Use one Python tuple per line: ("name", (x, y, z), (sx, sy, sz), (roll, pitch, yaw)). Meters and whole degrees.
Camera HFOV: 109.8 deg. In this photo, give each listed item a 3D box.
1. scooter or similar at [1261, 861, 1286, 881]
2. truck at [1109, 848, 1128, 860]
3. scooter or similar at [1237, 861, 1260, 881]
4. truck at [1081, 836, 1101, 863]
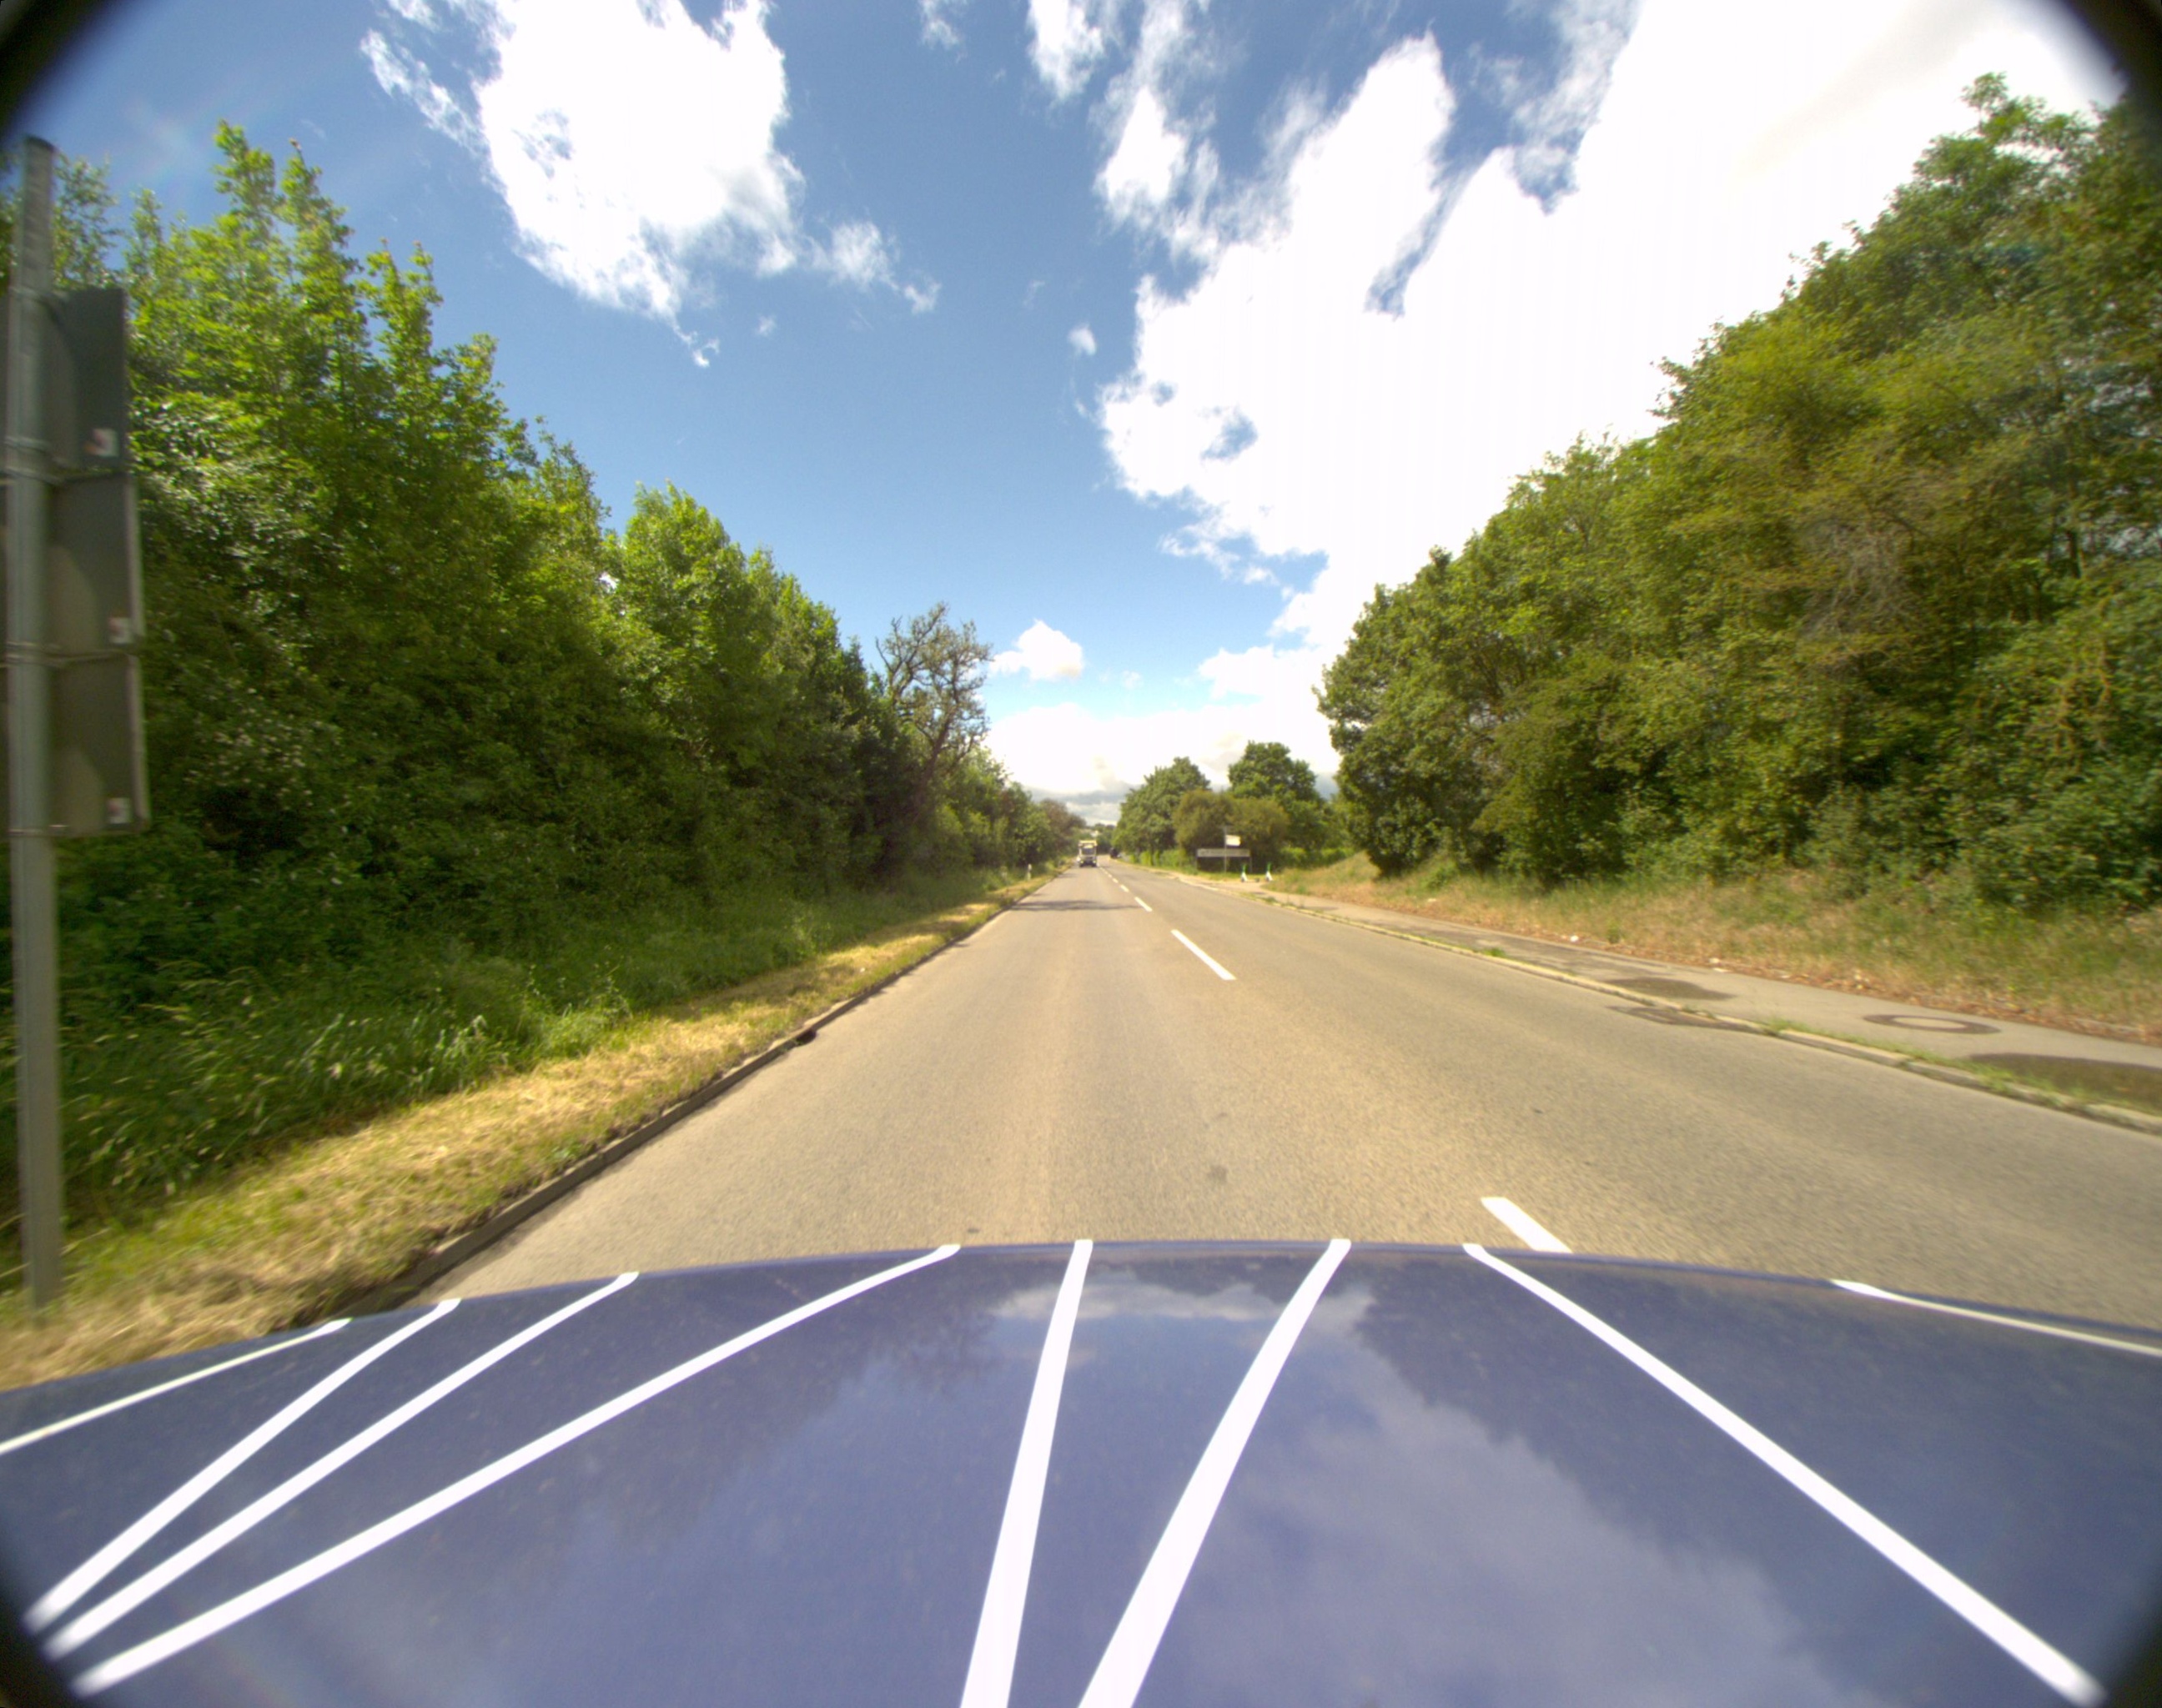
("scooter or similar", (11.237, 0.980, 44.442), (1.347, 1.162, 0.408), (-1, 0, 41))
("truck", (11.783, 0.110, 239.771), (5.570, 3.801, 2.983), (0, 1, -4))
("scooter or similar", (9.934, 1.019, 45.118), (0.408, 1.162, 1.347), (-2, 0, -43))
("truck", (1.413, -0.649, 111.309), (2.905, 3.746, 9.634), (0, 0, 0))
